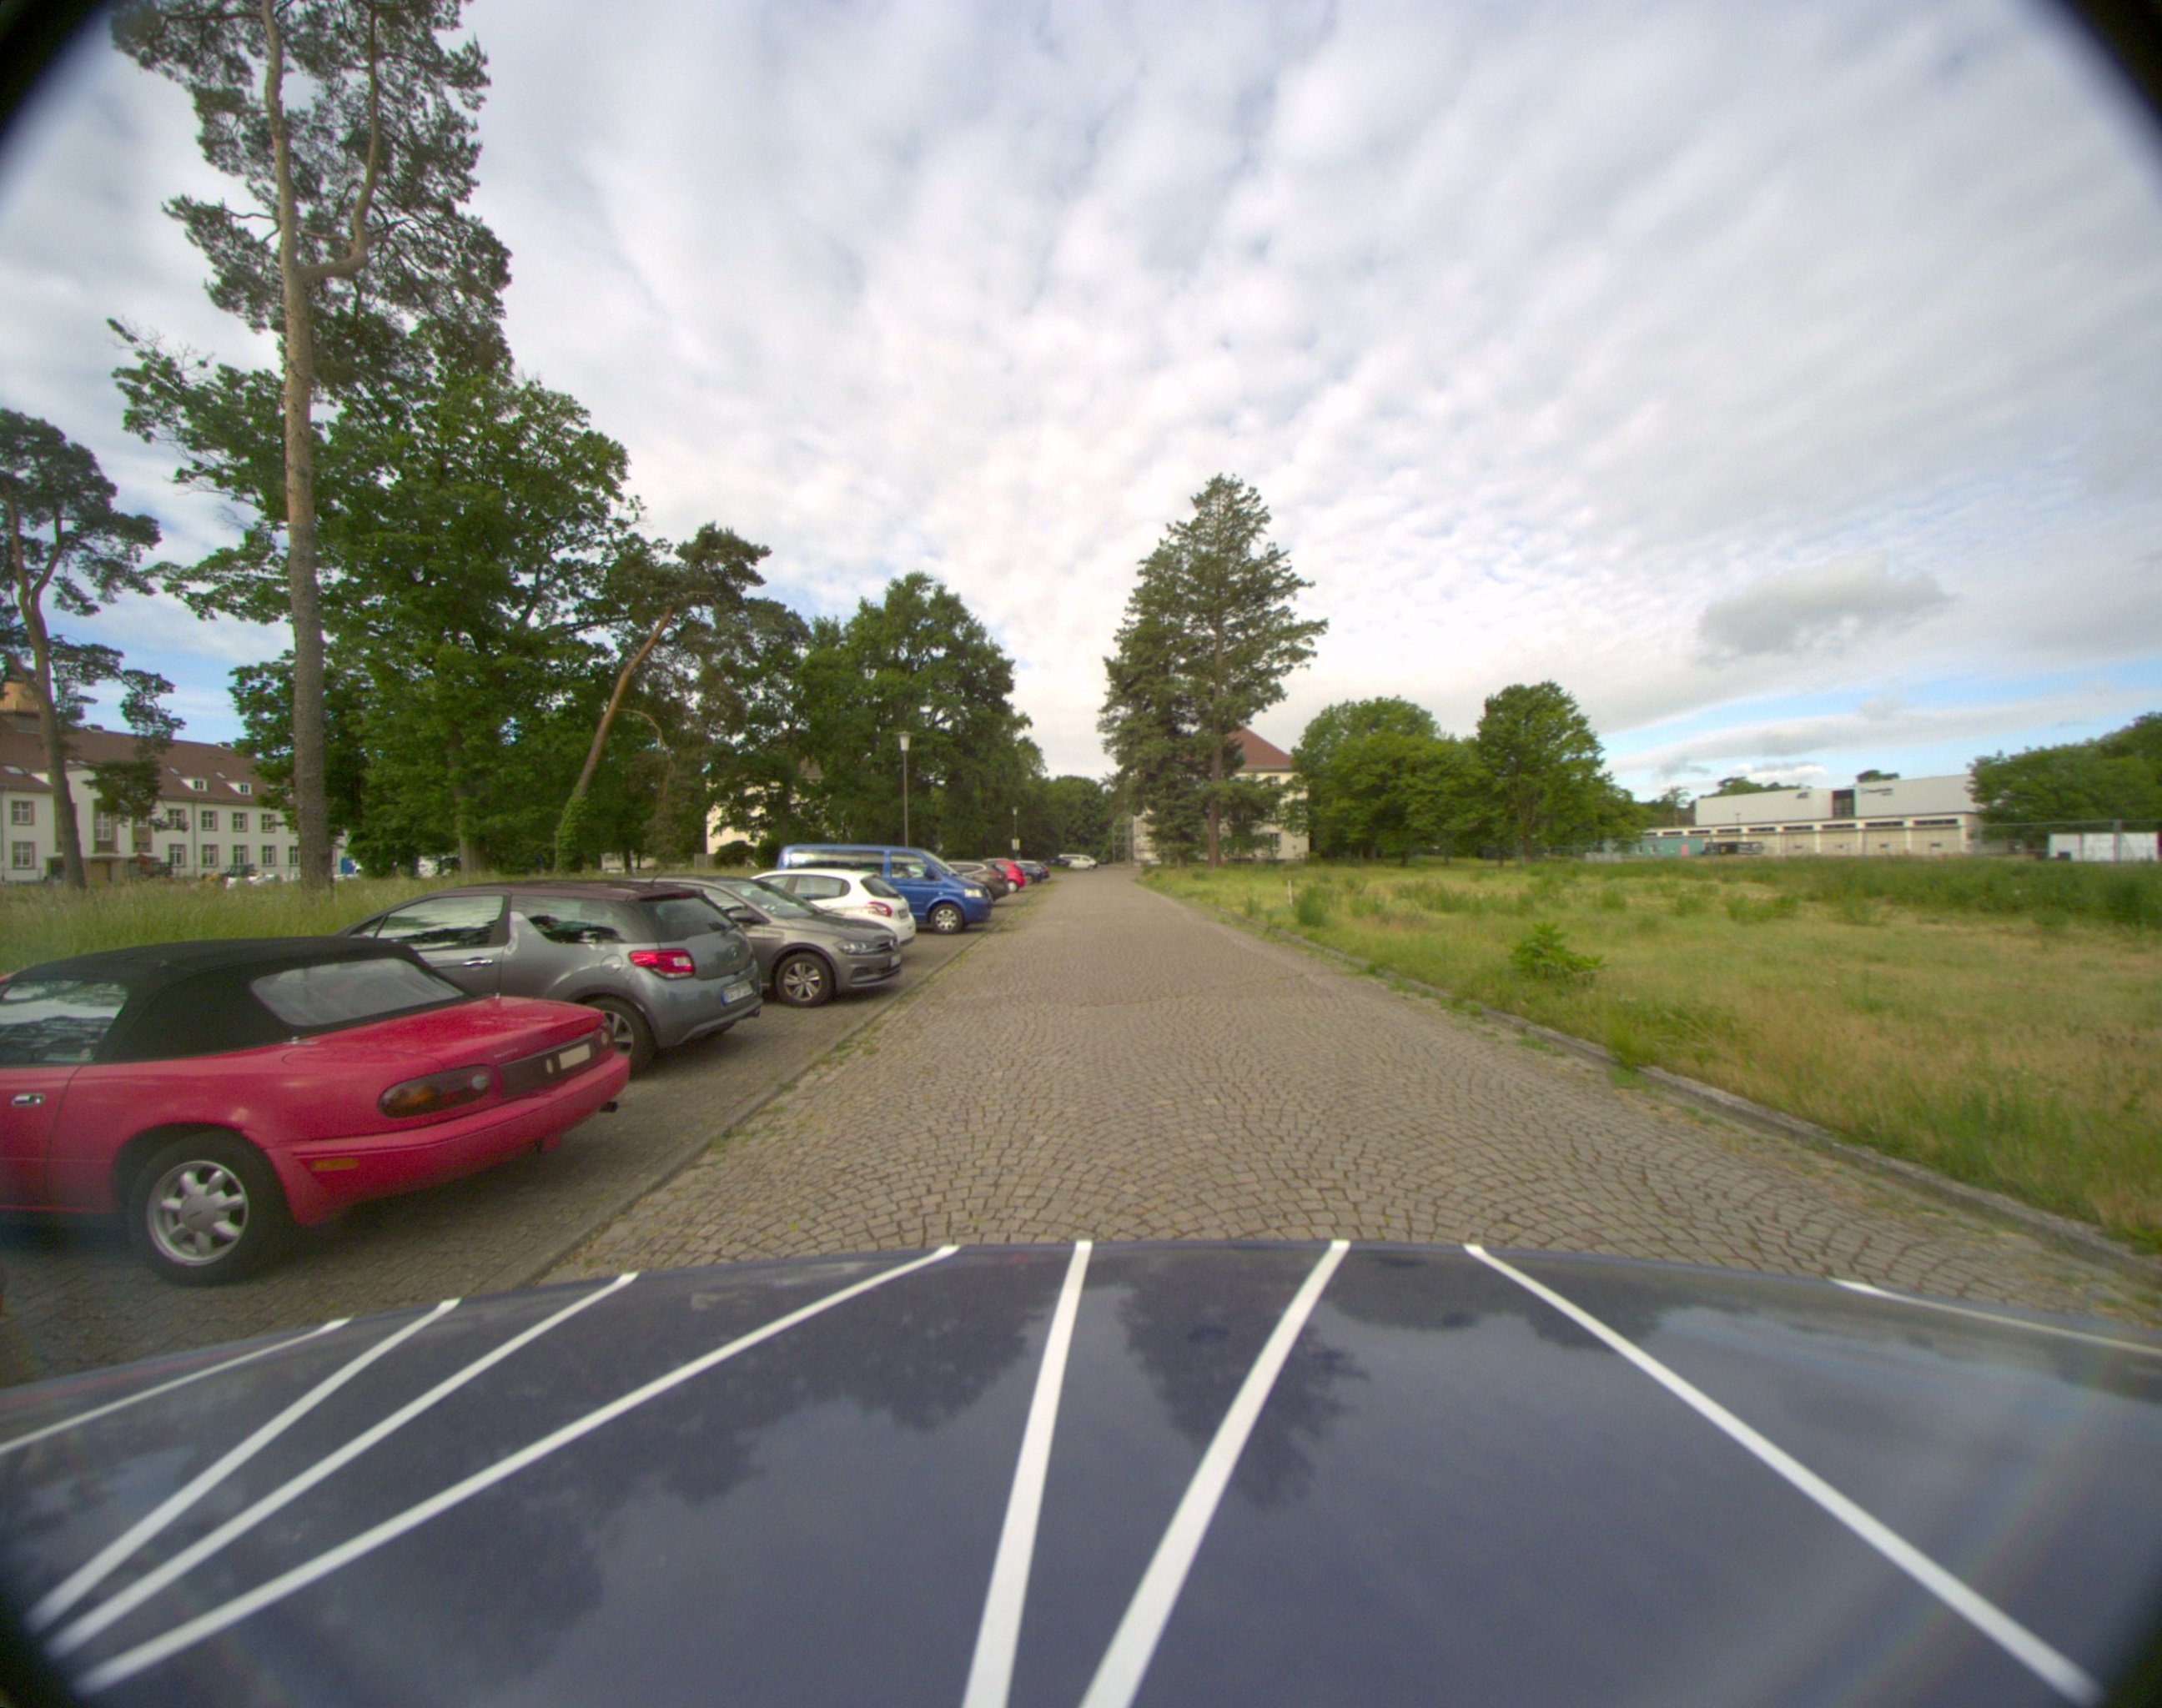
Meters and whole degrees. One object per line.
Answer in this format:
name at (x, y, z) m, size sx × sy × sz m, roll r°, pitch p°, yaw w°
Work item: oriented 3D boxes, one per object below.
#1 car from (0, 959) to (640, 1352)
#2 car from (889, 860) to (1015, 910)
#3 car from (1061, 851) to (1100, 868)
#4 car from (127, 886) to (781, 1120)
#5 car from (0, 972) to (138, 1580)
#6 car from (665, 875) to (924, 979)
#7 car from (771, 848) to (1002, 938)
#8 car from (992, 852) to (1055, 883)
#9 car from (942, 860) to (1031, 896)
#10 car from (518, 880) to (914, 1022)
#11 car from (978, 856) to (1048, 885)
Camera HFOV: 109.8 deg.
car at (-4.260, 1.196, 3.486) m, size 3.600 × 1.200 × 1.495 m, roll -1°, pitch 0°, yaw 1°
car at (-4.382, 1.042, 26.285) m, size 3.997 × 1.601 × 2.000 m, roll -1°, pitch 0°, yaw 1°
car at (-0.061, 0.751, 100.102) m, size 5.030 × 2.164 × 2.000 m, roll -1°, pitch 0°, yaw 2°
car at (-4.716, 1.072, 6.208) m, size 3.787 × 1.497 × 1.799 m, roll -1°, pitch 0°, yaw -1°
car at (-4.639, 1.073, 1.233) m, size 3.972 × 1.443 × 1.800 m, roll -1°, pitch 0°, yaw 1°
car at (-4.353, 1.086, 11.918) m, size 3.408 × 1.443 × 1.637 m, roll -1°, pitch 0°, yaw 1°
car at (-4.286, 0.850, 17.342) m, size 4.749 × 1.927 × 2.000 m, roll 0°, pitch 0°, yaw 0°
car at (-3.860, 0.896, 51.259) m, size 3.996 × 2.002 × 2.000 m, roll -1°, pitch 0°, yaw 2°
car at (-4.495, 1.119, 36.618) m, size 3.997 × 1.521 × 2.000 m, roll -2°, pitch 0°, yaw 1°
car at (-4.154, 1.082, 9.092) m, size 3.848 × 1.448 × 1.820 m, roll -1°, pitch 0°, yaw 3°
car at (-4.151, 0.994, 46.865) m, size 4.007 × 1.752 × 2.000 m, roll -1°, pitch 0°, yaw 2°
